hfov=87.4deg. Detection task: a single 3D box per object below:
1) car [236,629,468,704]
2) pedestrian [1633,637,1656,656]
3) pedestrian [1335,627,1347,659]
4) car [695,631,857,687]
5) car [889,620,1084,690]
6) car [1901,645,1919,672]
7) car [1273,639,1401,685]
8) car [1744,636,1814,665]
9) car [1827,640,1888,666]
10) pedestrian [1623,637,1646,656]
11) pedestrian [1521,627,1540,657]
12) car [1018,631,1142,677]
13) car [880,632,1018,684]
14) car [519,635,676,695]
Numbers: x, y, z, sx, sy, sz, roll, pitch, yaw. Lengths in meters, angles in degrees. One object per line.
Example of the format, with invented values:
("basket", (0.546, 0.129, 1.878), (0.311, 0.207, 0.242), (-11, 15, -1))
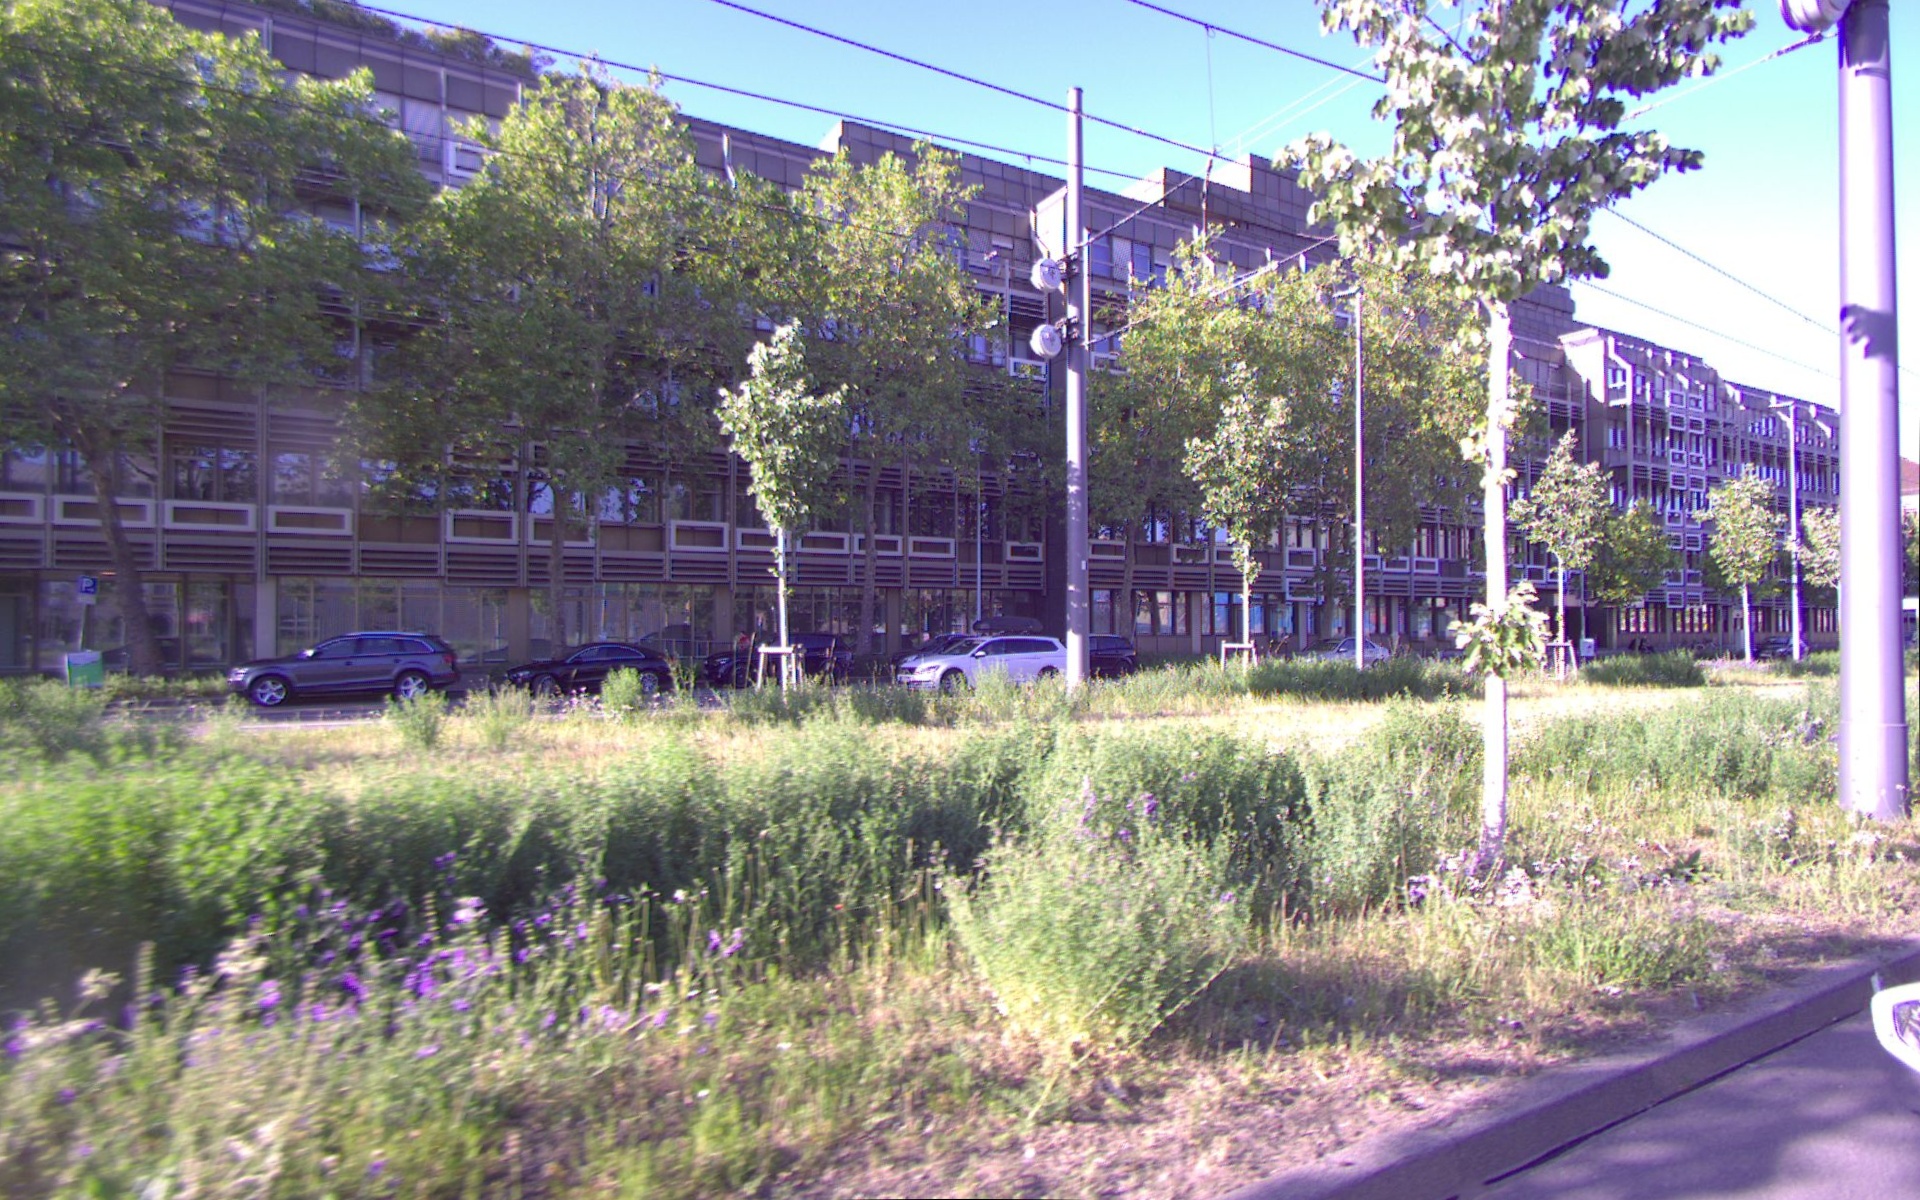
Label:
("car", (-15.210, 1.610, 25.372), (4.815, 1.702, 1.982), (1, -1, -33))
("pedestrian", (43.676, 2.947, 64.098), (0.888, 1.184, 0.896), (1, -2, -30))
("pedestrian", (19.033, 2.156, 50.179), (0.441, 1.582, 0.407), (1, -2, -29))
("car", (-5.611, 1.763, 30.798), (4.571, 1.578, 1.735), (1, -1, -31))
("car", (0.694, 1.365, 25.208), (4.637, 1.615, 1.832), (1, -3, -30))
("car", (58.446, 3.513, 60.306), (3.955, 1.596, 1.894), (1, -2, -32))
("car", (13.365, 2.158, 35.541), (4.528, 1.535, 1.750), (1, -3, -30))
("car", (47.595, 2.903, 58.366), (4.253, 1.596, 1.894), (1, -2, -32))
("car", (59.289, 3.478, 66.345), (4.253, 1.596, 1.894), (1, -2, -32))
("pedestrian", (42.647, 2.943, 63.503), (0.856, 1.184, 0.895), (1, -2, -32))
("pedestrian", (30.244, 2.214, 53.220), (0.643, 1.552, 0.660), (1, -2, -34))
("car", (4.380, 1.952, 36.638), (4.226, 1.617, 1.853), (1, -3, -29))
("car", (-0.357, 1.952, 34.150), (4.307, 1.653, 1.904), (1, -4, -28))
("car", (-10.139, 1.769, 28.080), (3.948, 1.541, 1.987), (1, -1, -27))
